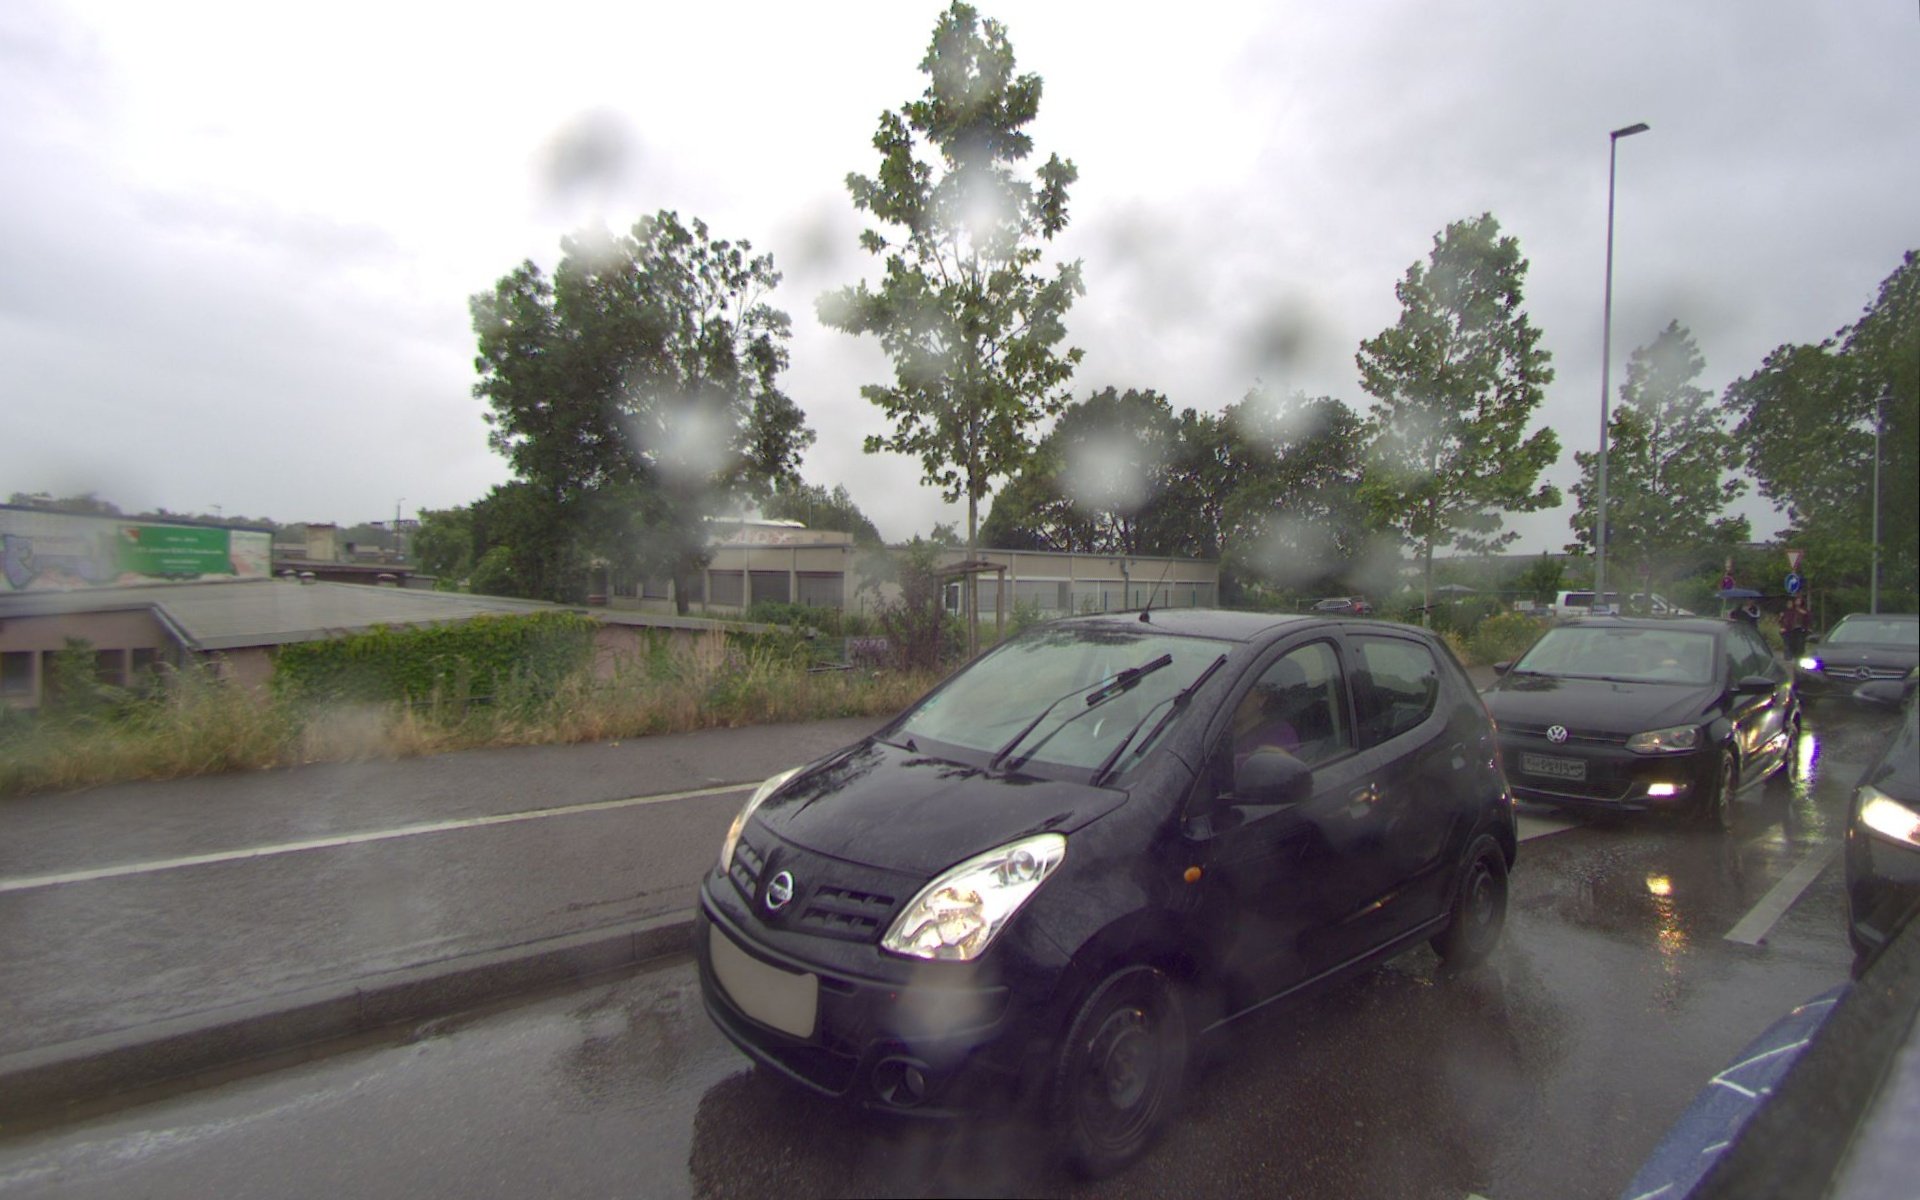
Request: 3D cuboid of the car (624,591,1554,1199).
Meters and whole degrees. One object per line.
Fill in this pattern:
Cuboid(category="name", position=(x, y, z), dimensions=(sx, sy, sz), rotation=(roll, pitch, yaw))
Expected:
Cuboid(category="car", position=(0.765, 0.712, 3.891), dimensions=(3.561, 1.447, 1.631), rotation=(0, 0, -42))

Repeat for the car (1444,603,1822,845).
Cuboid(category="car", position=(5.363, 0.756, 7.909), dimensions=(3.561, 1.447, 1.631), rotation=(0, 0, -42))

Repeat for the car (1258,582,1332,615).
Cuboid(category="car", position=(20.995, -0.109, 63.474), dimensions=(1.964, 2.039, 3.996), rotation=(0, 0, -38))

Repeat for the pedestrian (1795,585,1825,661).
Cuboid(category="pedestrian", position=(19.305, 0.515, 22.983), dimensions=(0.433, 1.682, 0.400), rotation=(0, 3, -42))

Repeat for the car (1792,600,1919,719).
Cuboid(category="car", position=(14.309, 0.826, 15.600), dimensions=(3.747, 1.594, 1.697), rotation=(-1, 0, -41))

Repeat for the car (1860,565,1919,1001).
Cuboid(category="car", position=(5.517, 0.658, 4.549), dimensions=(4.091, 1.607, 1.688), rotation=(-1, 0, -41))

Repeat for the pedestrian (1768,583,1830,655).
Cuboid(category="pedestrian", position=(21.275, 0.464, 25.674), dimensions=(0.876, 1.729, 1.024), rotation=(0, 3, -41))

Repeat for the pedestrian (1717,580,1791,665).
Cuboid(category="pedestrian", position=(17.512, 0.464, 22.327), dimensions=(0.953, 1.777, 1.081), rotation=(0, 3, -42))

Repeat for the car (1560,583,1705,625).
Cuboid(category="car", position=(28.092, 0.127, 42.379), dimensions=(1.966, 1.670, 4.752), rotation=(-1, 1, -42))

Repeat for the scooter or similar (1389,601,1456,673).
Cuboid(category="scooter or similar", position=(7.899, 0.610, 17.245), dimensions=(1.747, 1.144, 0.380), rotation=(-1, 2, -43))
